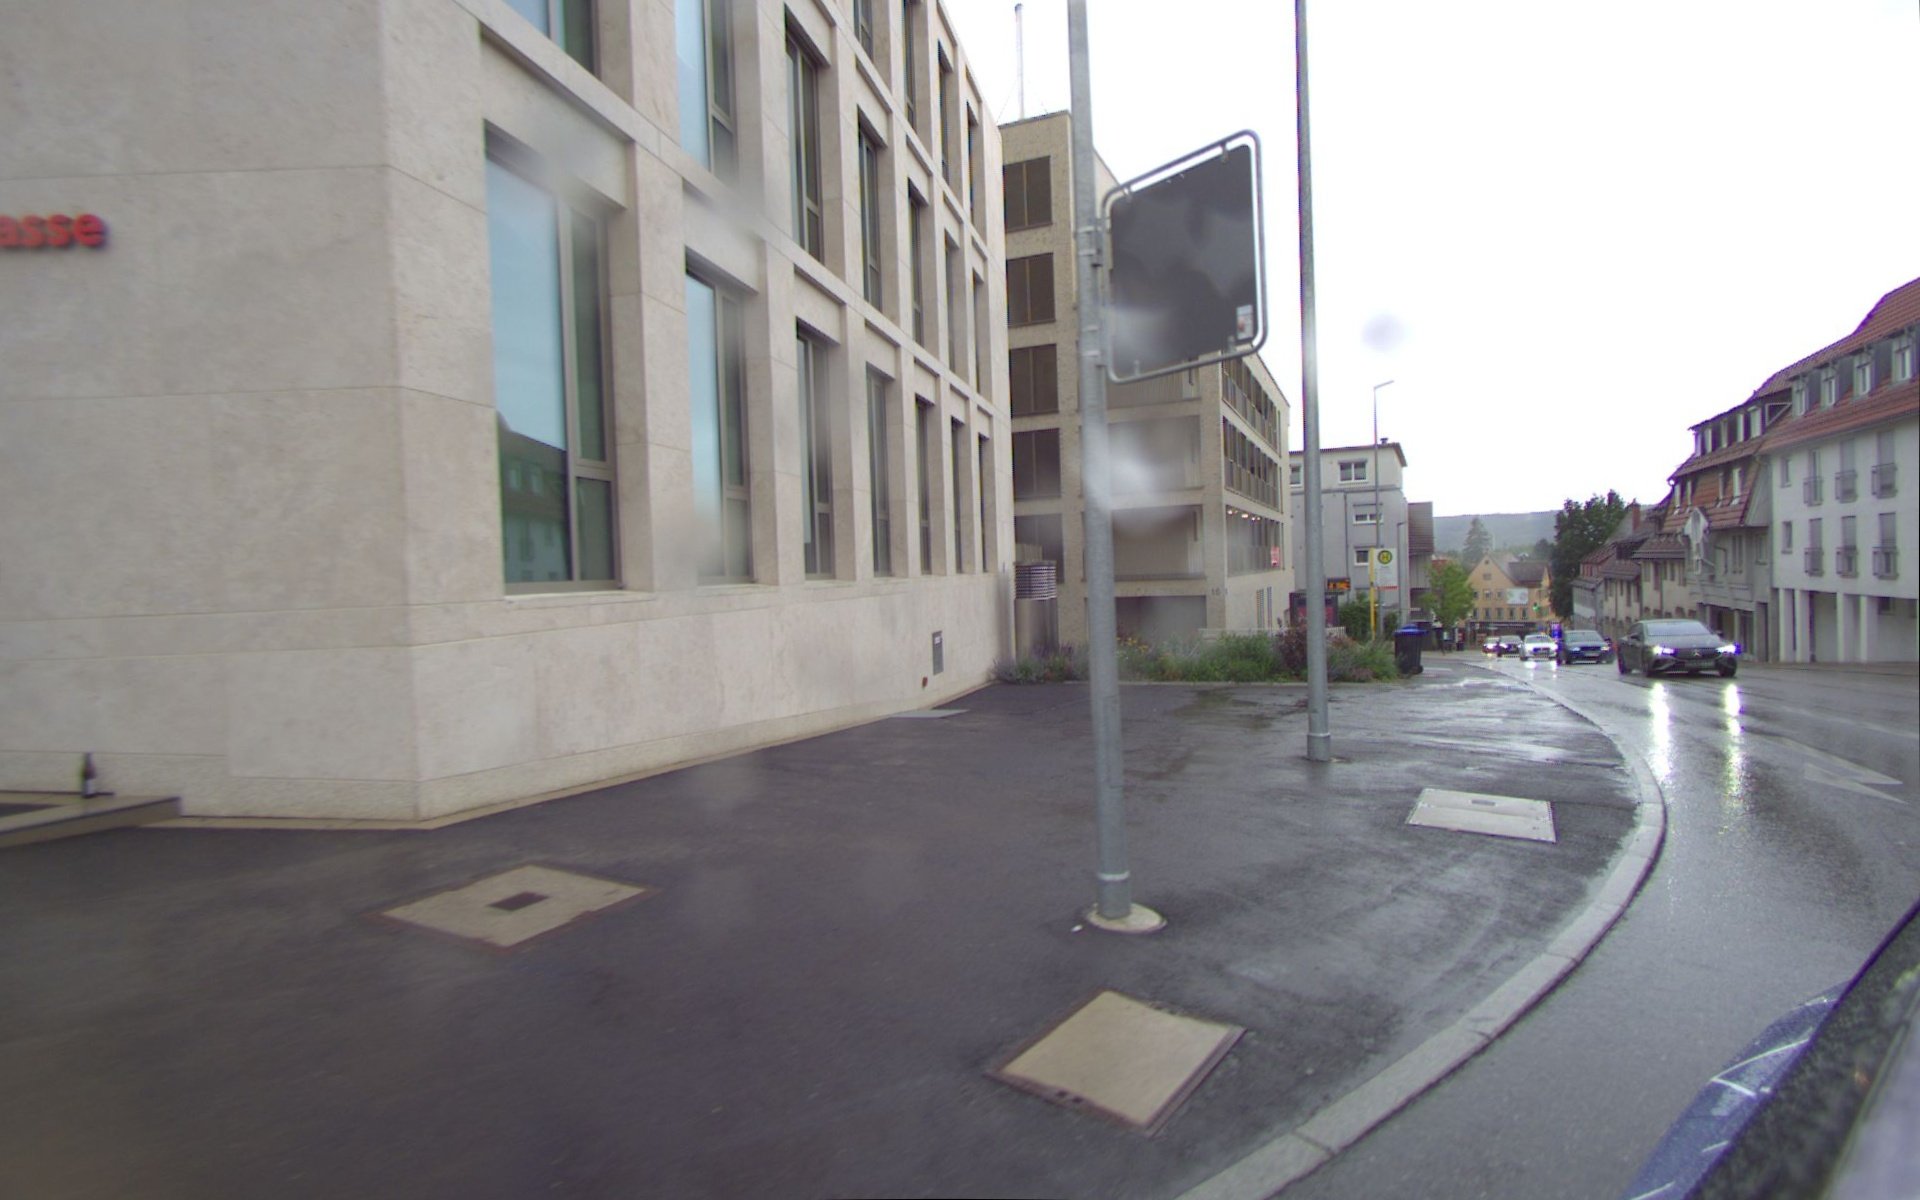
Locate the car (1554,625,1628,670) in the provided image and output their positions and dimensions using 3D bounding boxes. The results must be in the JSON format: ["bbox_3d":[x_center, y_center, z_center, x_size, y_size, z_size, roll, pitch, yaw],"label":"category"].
[{"bbox_3d":[26.713,2.034,42.989,1.947,1.793,4.346,-1,-4,23],"label":"car"}]

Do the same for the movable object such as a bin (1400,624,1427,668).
[{"bbox_3d":[11.330,1.140,25.280,0.591,1.076,0.573,-1,-3,26],"label":"movable object such as a bin"}]

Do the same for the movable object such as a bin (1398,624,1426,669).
[{"bbox_3d":[11.010,1.125,24.623,0.591,1.076,0.573,-1,-3,26],"label":"movable object such as a bin"}]

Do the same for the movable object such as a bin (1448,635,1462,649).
[{"bbox_3d":[50.102,4.287,102.499,1.227,1.352,1.160,0,-3,29],"label":"movable object such as a bin"}]

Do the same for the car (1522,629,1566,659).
[{"bbox_3d":[33.024,2.531,57.327,1.950,1.629,4.339,-1,-4,28],"label":"car"}]

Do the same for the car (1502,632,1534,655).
[{"bbox_3d":[41.851,3.275,75.987,1.950,1.629,4.339,-1,-4,28],"label":"car"}]

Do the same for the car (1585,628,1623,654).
[{"bbox_3d":[40.494,2.593,63.683,1.548,1.556,3.418,0,-2,25],"label":"car"}]

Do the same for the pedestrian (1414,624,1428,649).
[{"bbox_3d":[29.216,2.291,64.142,0.684,1.576,0.705,-2,-3,21],"label":"pedestrian"}]

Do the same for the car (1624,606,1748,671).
[{"bbox_3d":[19.143,1.021,26.903,1.949,1.578,4.577,-1,-3,27],"label":"car"}]

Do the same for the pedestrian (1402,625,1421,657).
[{"bbox_3d":[22.596,2.034,50.607,0.732,1.562,1.027,2,-1,29],"label":"pedestrian"}]
